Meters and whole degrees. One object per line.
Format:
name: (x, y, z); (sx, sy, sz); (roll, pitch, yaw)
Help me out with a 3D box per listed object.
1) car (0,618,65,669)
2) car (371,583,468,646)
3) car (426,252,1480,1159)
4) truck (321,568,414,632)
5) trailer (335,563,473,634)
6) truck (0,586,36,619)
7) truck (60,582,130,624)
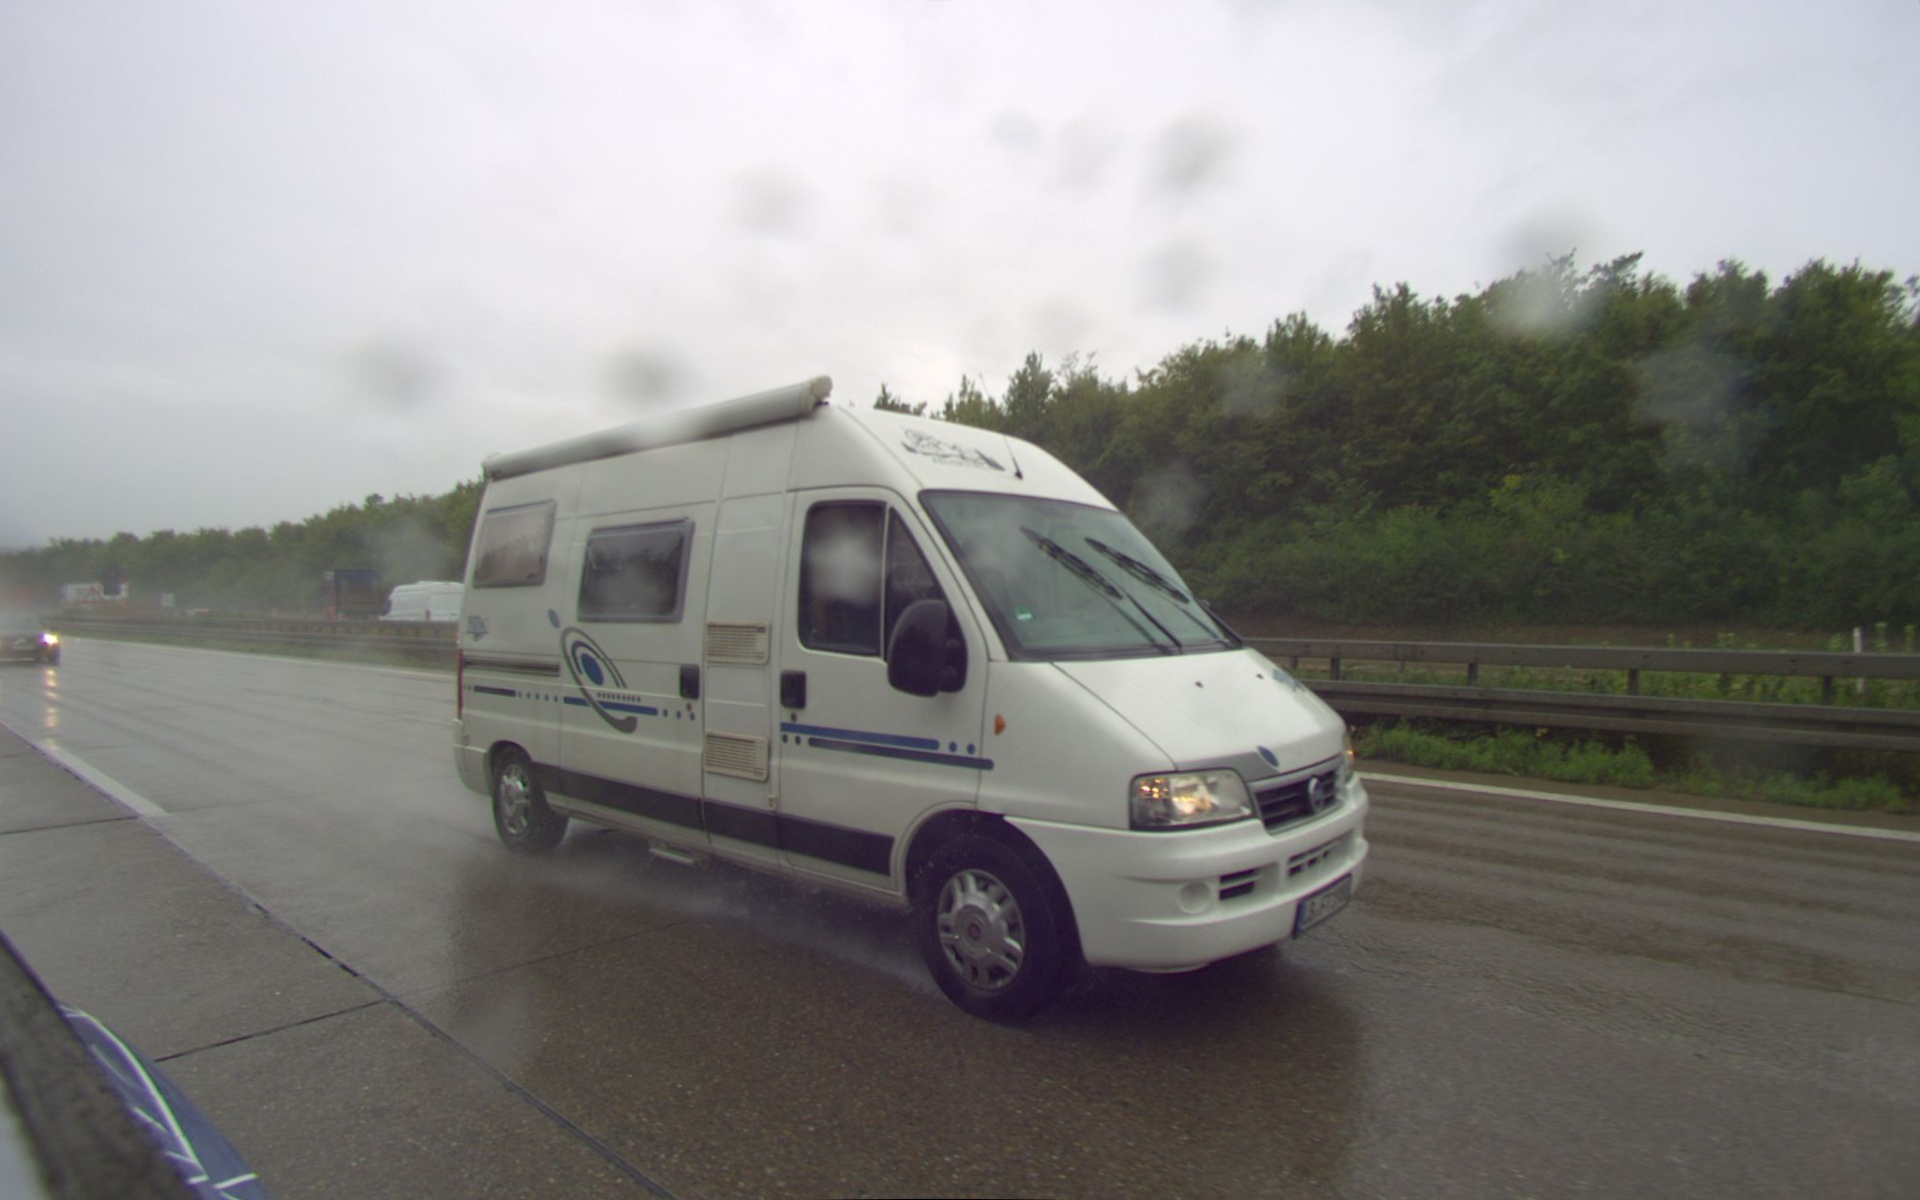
car: (-27.833, 1.238, 29.697); (4.319, 1.398, 1.723); (0, -2, 41)
car: (-26.944, 0.703, 50.324); (6.531, 2.922, 2.066); (-1, -1, 41)
car: (-0.652, 0.310, 5.403); (5.788, 2.450, 1.977); (-1, -1, 41)
truck: (-37.618, 0.047, 64.178); (6.884, 3.886, 3.103); (-1, -1, 42)
trailer: (-33.398, -0.006, 60.425); (12.865, 3.886, 3.103); (-1, -1, 42)
truck: (-126.454, 0.418, 134.782); (13.525, 4.277, 3.093); (-1, -1, 39)
truck: (-93.988, 0.409, 109.821); (16.356, 4.277, 3.092); (-1, -1, 40)
